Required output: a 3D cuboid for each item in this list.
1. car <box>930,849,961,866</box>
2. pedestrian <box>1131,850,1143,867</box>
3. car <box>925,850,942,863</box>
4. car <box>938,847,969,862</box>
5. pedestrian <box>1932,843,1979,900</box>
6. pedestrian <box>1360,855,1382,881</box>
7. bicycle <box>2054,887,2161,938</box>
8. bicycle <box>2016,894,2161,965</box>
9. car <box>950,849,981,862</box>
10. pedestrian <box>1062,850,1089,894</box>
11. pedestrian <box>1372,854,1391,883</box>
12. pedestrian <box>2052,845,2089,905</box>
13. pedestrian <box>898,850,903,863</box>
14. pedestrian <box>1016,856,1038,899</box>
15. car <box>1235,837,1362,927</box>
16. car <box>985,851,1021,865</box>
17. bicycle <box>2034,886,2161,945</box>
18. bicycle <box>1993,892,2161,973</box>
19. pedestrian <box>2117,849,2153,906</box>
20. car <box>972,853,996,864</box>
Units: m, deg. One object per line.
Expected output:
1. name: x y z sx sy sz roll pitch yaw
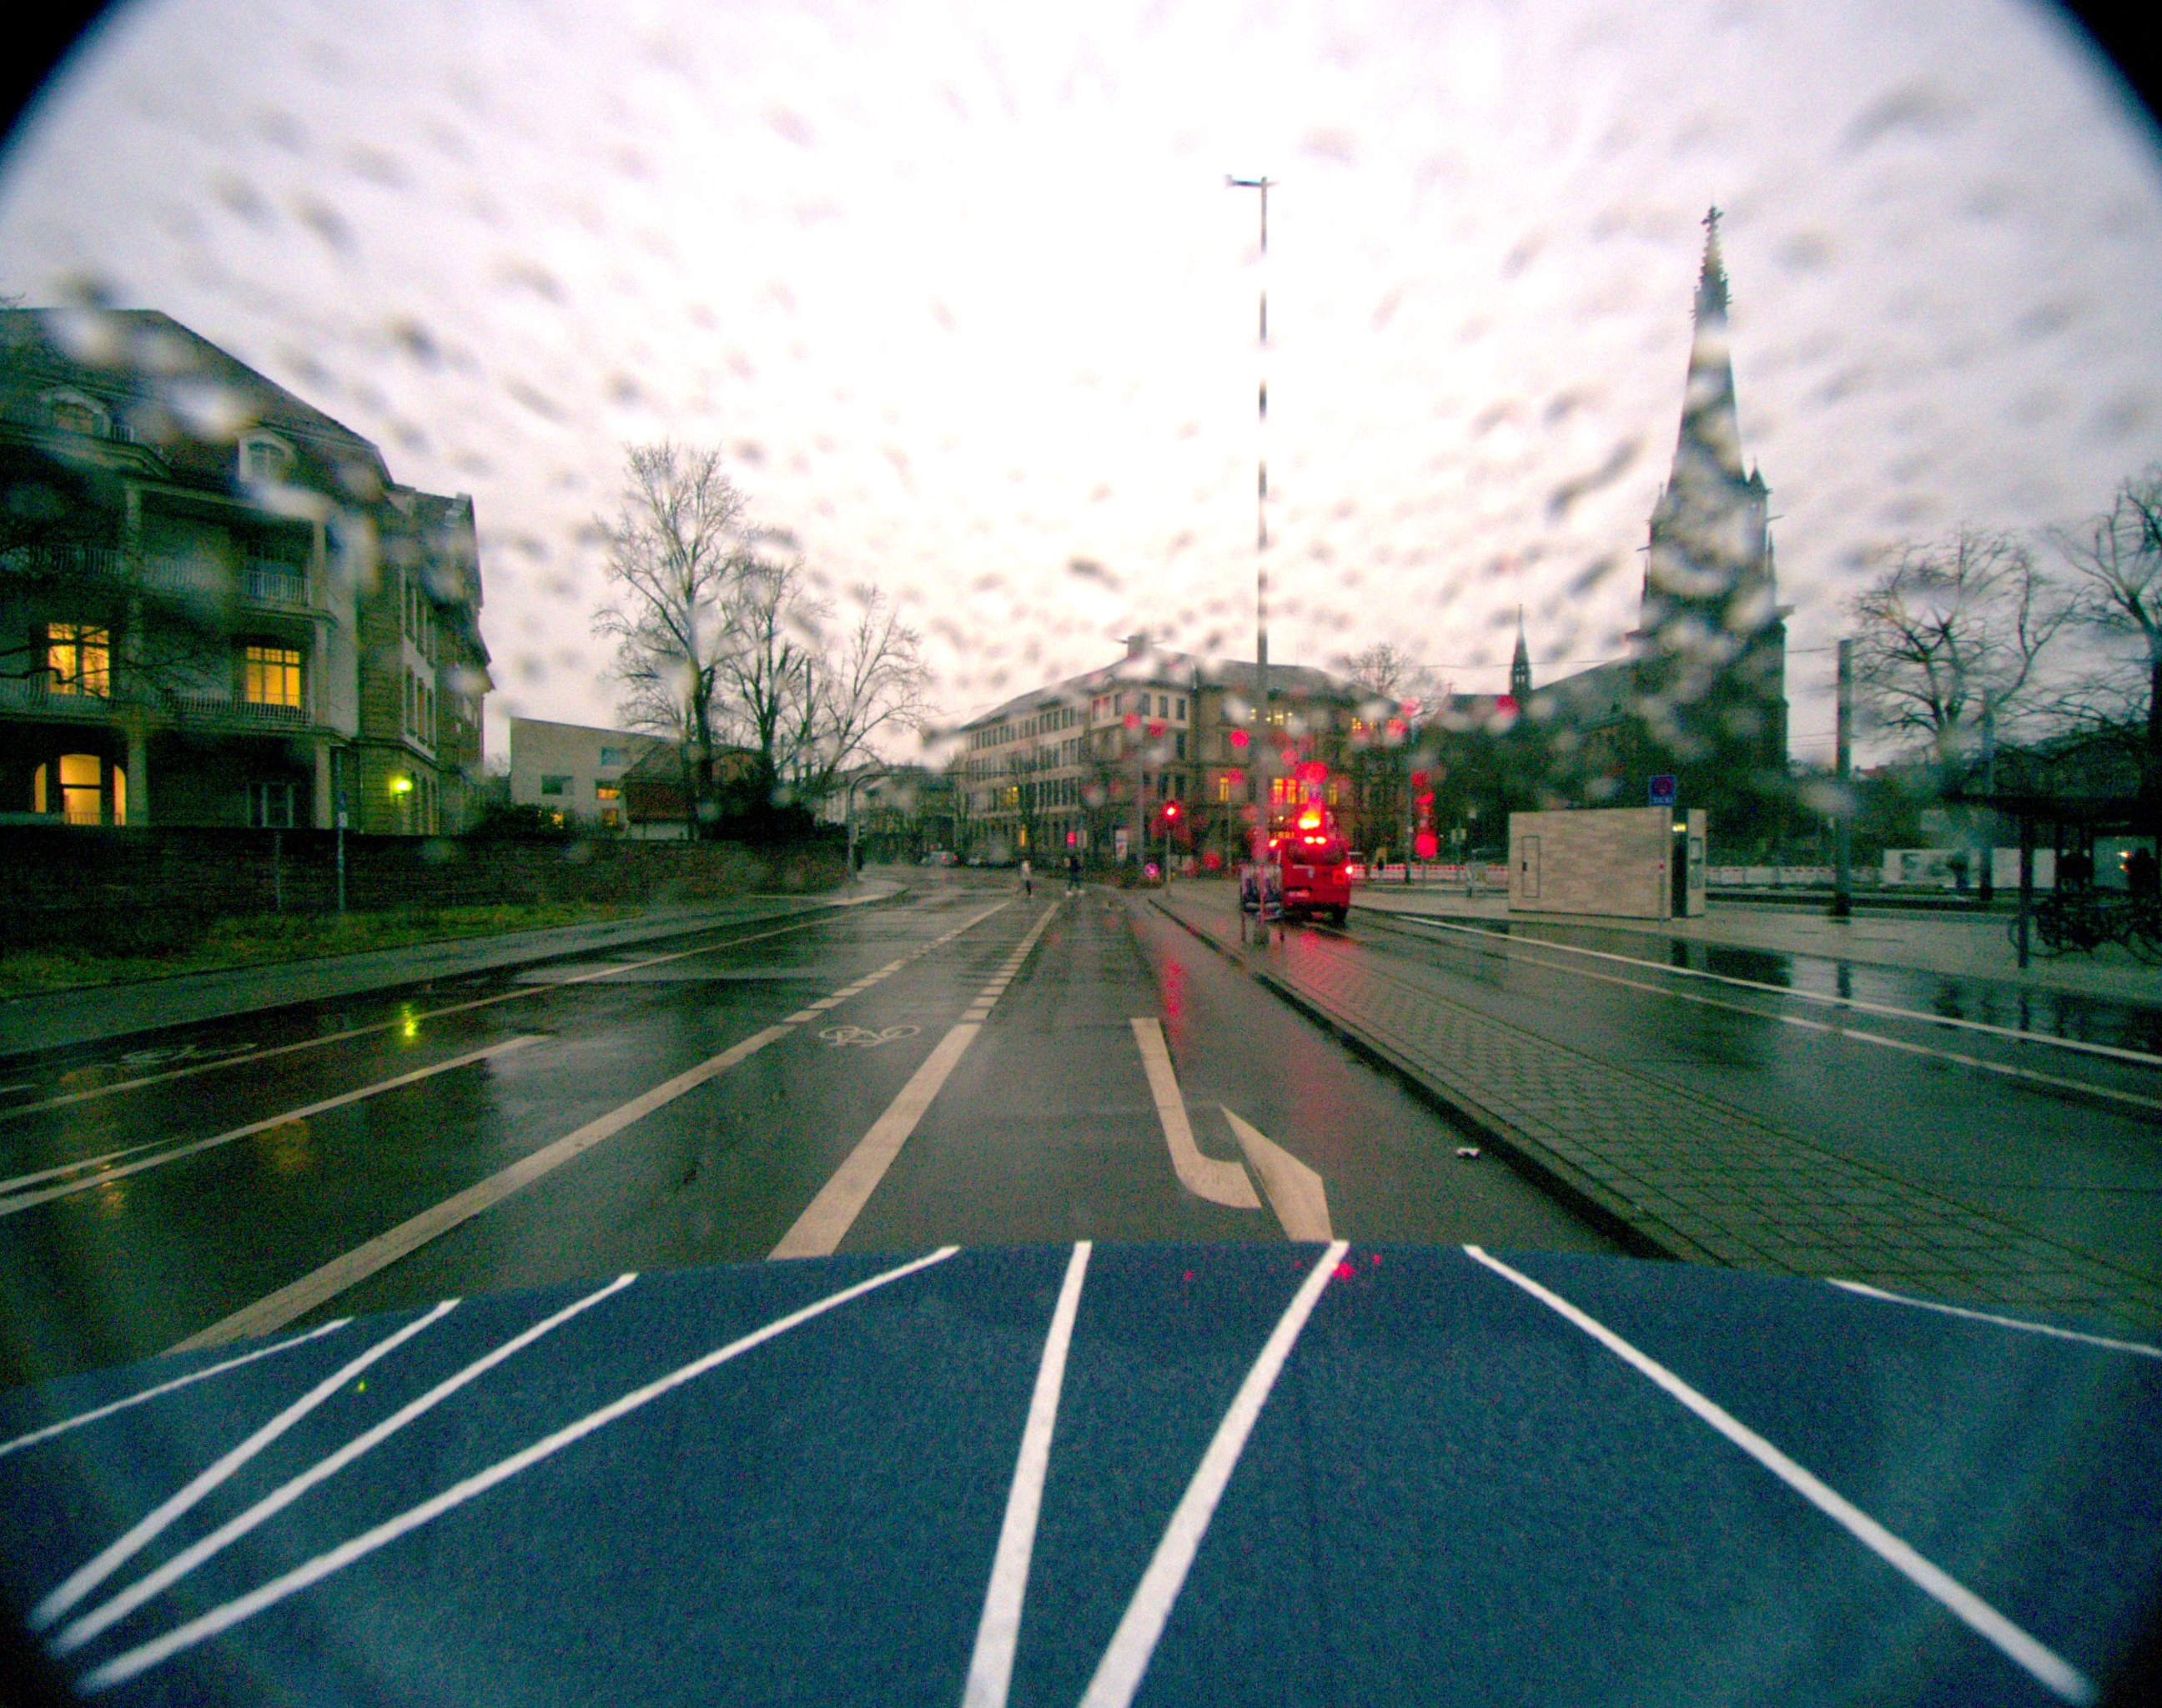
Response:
1. car: -16.415 0.423 91.947 1.887 1.835 3.989 -3 1 -40
2. pedestrian: 5.568 0.453 75.681 0.829 1.714 0.926 0 0 -37
3. car: -20.742 0.377 106.850 2.000 1.660 3.997 -2 1 -7
4. car: -17.002 0.080 101.475 2.043 1.889 4.007 -2 1 28
5. pedestrian: 28.122 0.548 24.443 0.671 1.785 0.825 -3 1 -26
6. pedestrian: 19.026 0.892 49.855 0.774 1.651 1.206 -3 1 -15
7. bicycle: 20.845 1.159 15.022 0.475 0.905 1.921 -2 2 -30
8. bicycle: 16.614 1.211 12.221 0.475 0.980 1.921 -2 2 -30
9. car: -15.097 0.204 99.410 1.797 1.541 4.007 -2 1 28
10. pedestrian: -0.246 0.768 32.698 1.000 1.890 0.673 1 1 -12
11. pedestrian: 20.372 0.979 51.460 0.675 1.890 0.971 0 2 -42
12. pedestrian: 30.232 0.640 23.221 0.673 1.785 0.626 -3 2 -41
13. pedestrian: -27.320 0.401 114.769 0.548 2.002 0.473 0 1 -37
14. pedestrian: -2.177 0.929 30.469 0.799 1.713 0.673 1 1 -9
15. car: 5.513 0.654 19.912 1.929 2.058 4.643 1 0 0
16. car: -9.285 0.485 90.540 1.797 1.541 4.007 -1 1 45
17. bicycle: 19.689 1.166 14.433 0.475 0.980 1.921 -2 2 -30
18. bicycle: 15.496 1.178 11.616 0.475 1.064 1.921 -2 2 -30
19. pedestrian: 31.045 0.689 22.392 0.541 1.642 0.562 -3 2 -41
20. car: -12.140 0.579 95.312 1.706 1.298 3.647 -2 1 16
